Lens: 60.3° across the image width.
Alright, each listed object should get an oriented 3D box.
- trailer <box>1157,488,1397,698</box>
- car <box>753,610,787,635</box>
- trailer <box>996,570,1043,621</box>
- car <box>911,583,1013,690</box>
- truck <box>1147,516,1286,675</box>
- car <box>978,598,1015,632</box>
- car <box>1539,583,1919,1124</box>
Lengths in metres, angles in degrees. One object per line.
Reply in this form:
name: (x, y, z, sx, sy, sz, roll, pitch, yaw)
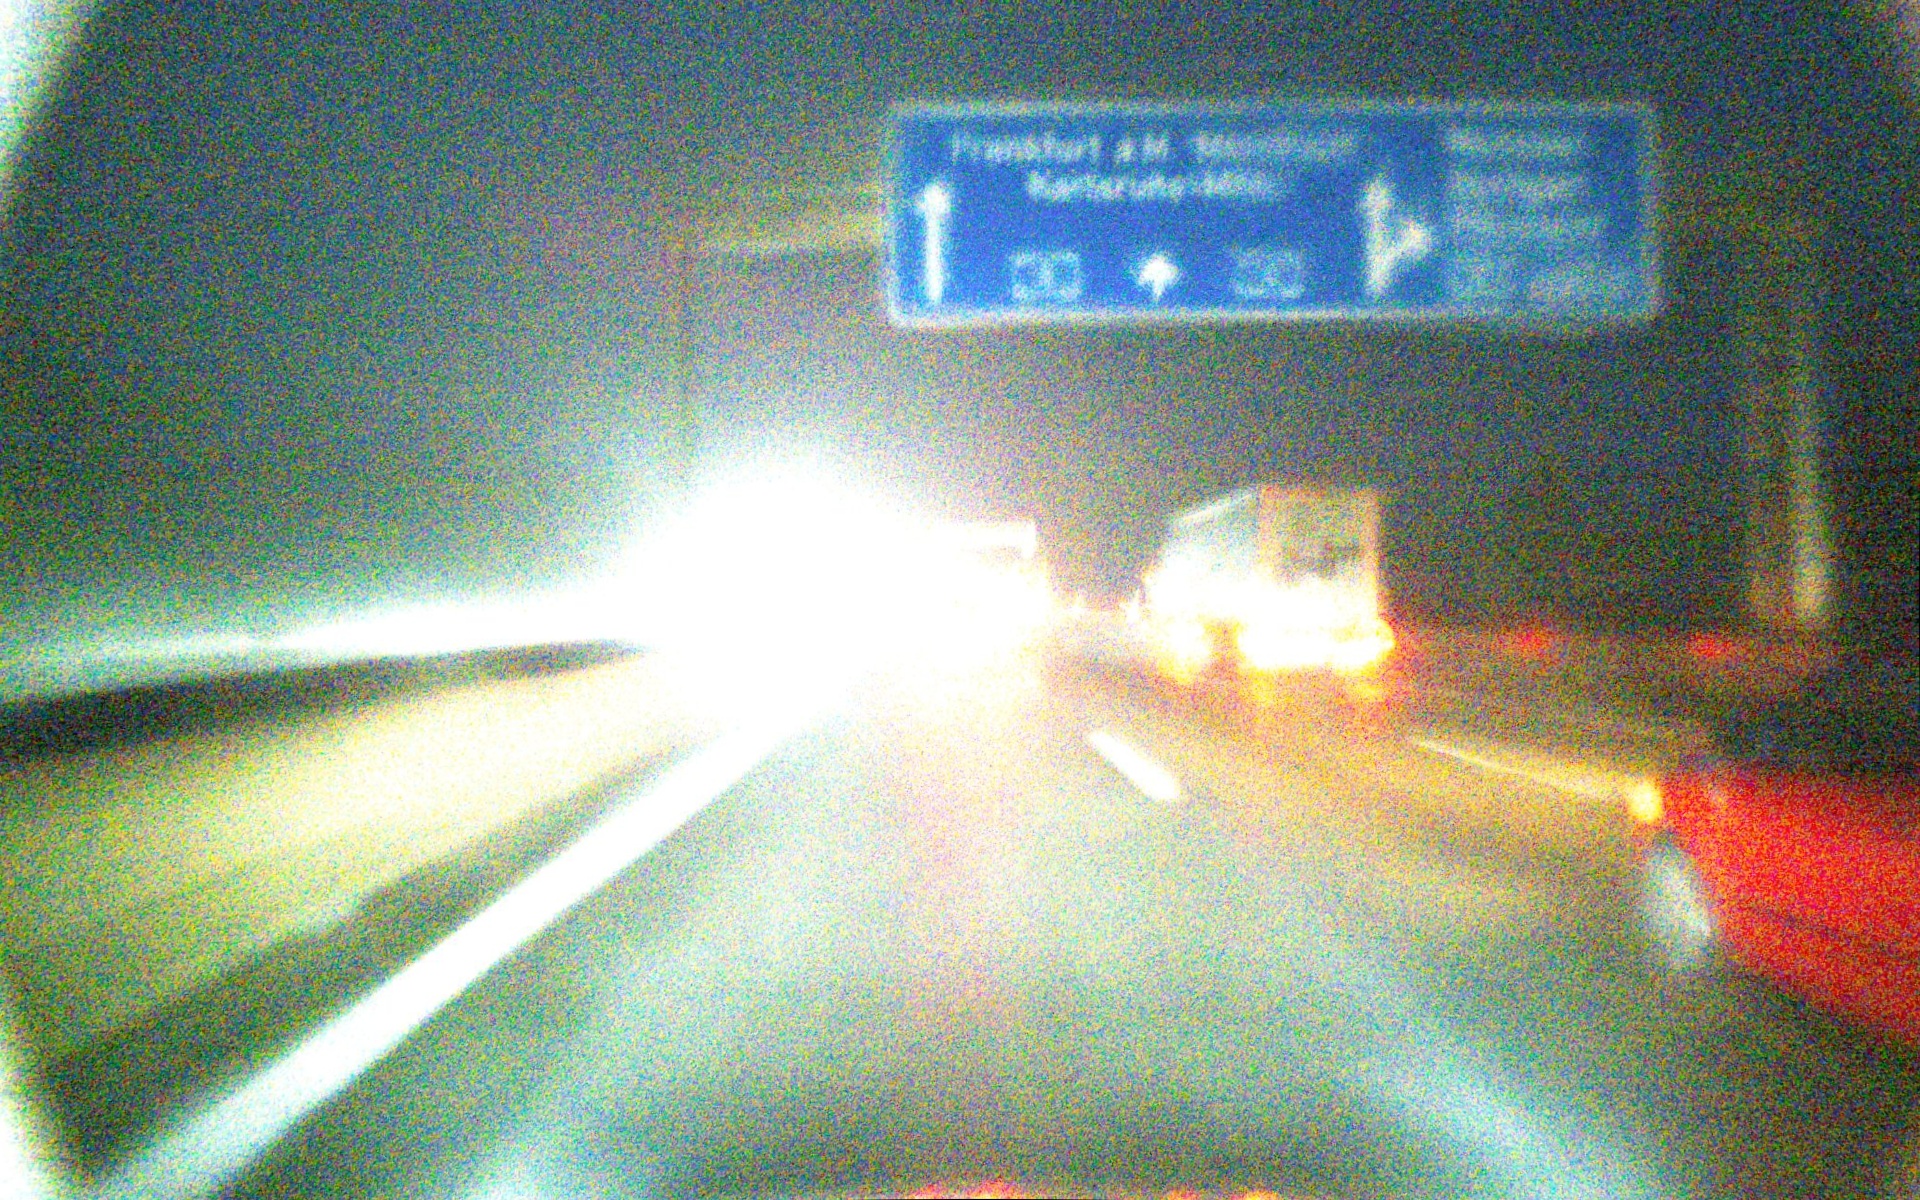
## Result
trailer: (7.315, -0.122, 40.857, 2.844, 4.180, 14.484, -2, 0, -1)
car: (-14.258, 1.674, 124.475, 1.953, 1.769, 5.235, 2, 0, -1)
trailer: (5.175, -0.265, 146.101, 2.980, 4.180, 13.821, -2, -1, -2)
car: (0.024, 0.748, 34.284, 1.953, 2.049, 3.999, 1, -1, -1)
truck: (7.222, -0.110, 47.402, 2.844, 4.180, 6.029, -2, 0, -1)
car: (2.316, 0.994, 105.583, 1.954, 2.049, 3.996, -2, -1, -4)
car: (3.682, 0.756, 5.714, 1.705, 1.603, 4.492, 0, -1, -1)
